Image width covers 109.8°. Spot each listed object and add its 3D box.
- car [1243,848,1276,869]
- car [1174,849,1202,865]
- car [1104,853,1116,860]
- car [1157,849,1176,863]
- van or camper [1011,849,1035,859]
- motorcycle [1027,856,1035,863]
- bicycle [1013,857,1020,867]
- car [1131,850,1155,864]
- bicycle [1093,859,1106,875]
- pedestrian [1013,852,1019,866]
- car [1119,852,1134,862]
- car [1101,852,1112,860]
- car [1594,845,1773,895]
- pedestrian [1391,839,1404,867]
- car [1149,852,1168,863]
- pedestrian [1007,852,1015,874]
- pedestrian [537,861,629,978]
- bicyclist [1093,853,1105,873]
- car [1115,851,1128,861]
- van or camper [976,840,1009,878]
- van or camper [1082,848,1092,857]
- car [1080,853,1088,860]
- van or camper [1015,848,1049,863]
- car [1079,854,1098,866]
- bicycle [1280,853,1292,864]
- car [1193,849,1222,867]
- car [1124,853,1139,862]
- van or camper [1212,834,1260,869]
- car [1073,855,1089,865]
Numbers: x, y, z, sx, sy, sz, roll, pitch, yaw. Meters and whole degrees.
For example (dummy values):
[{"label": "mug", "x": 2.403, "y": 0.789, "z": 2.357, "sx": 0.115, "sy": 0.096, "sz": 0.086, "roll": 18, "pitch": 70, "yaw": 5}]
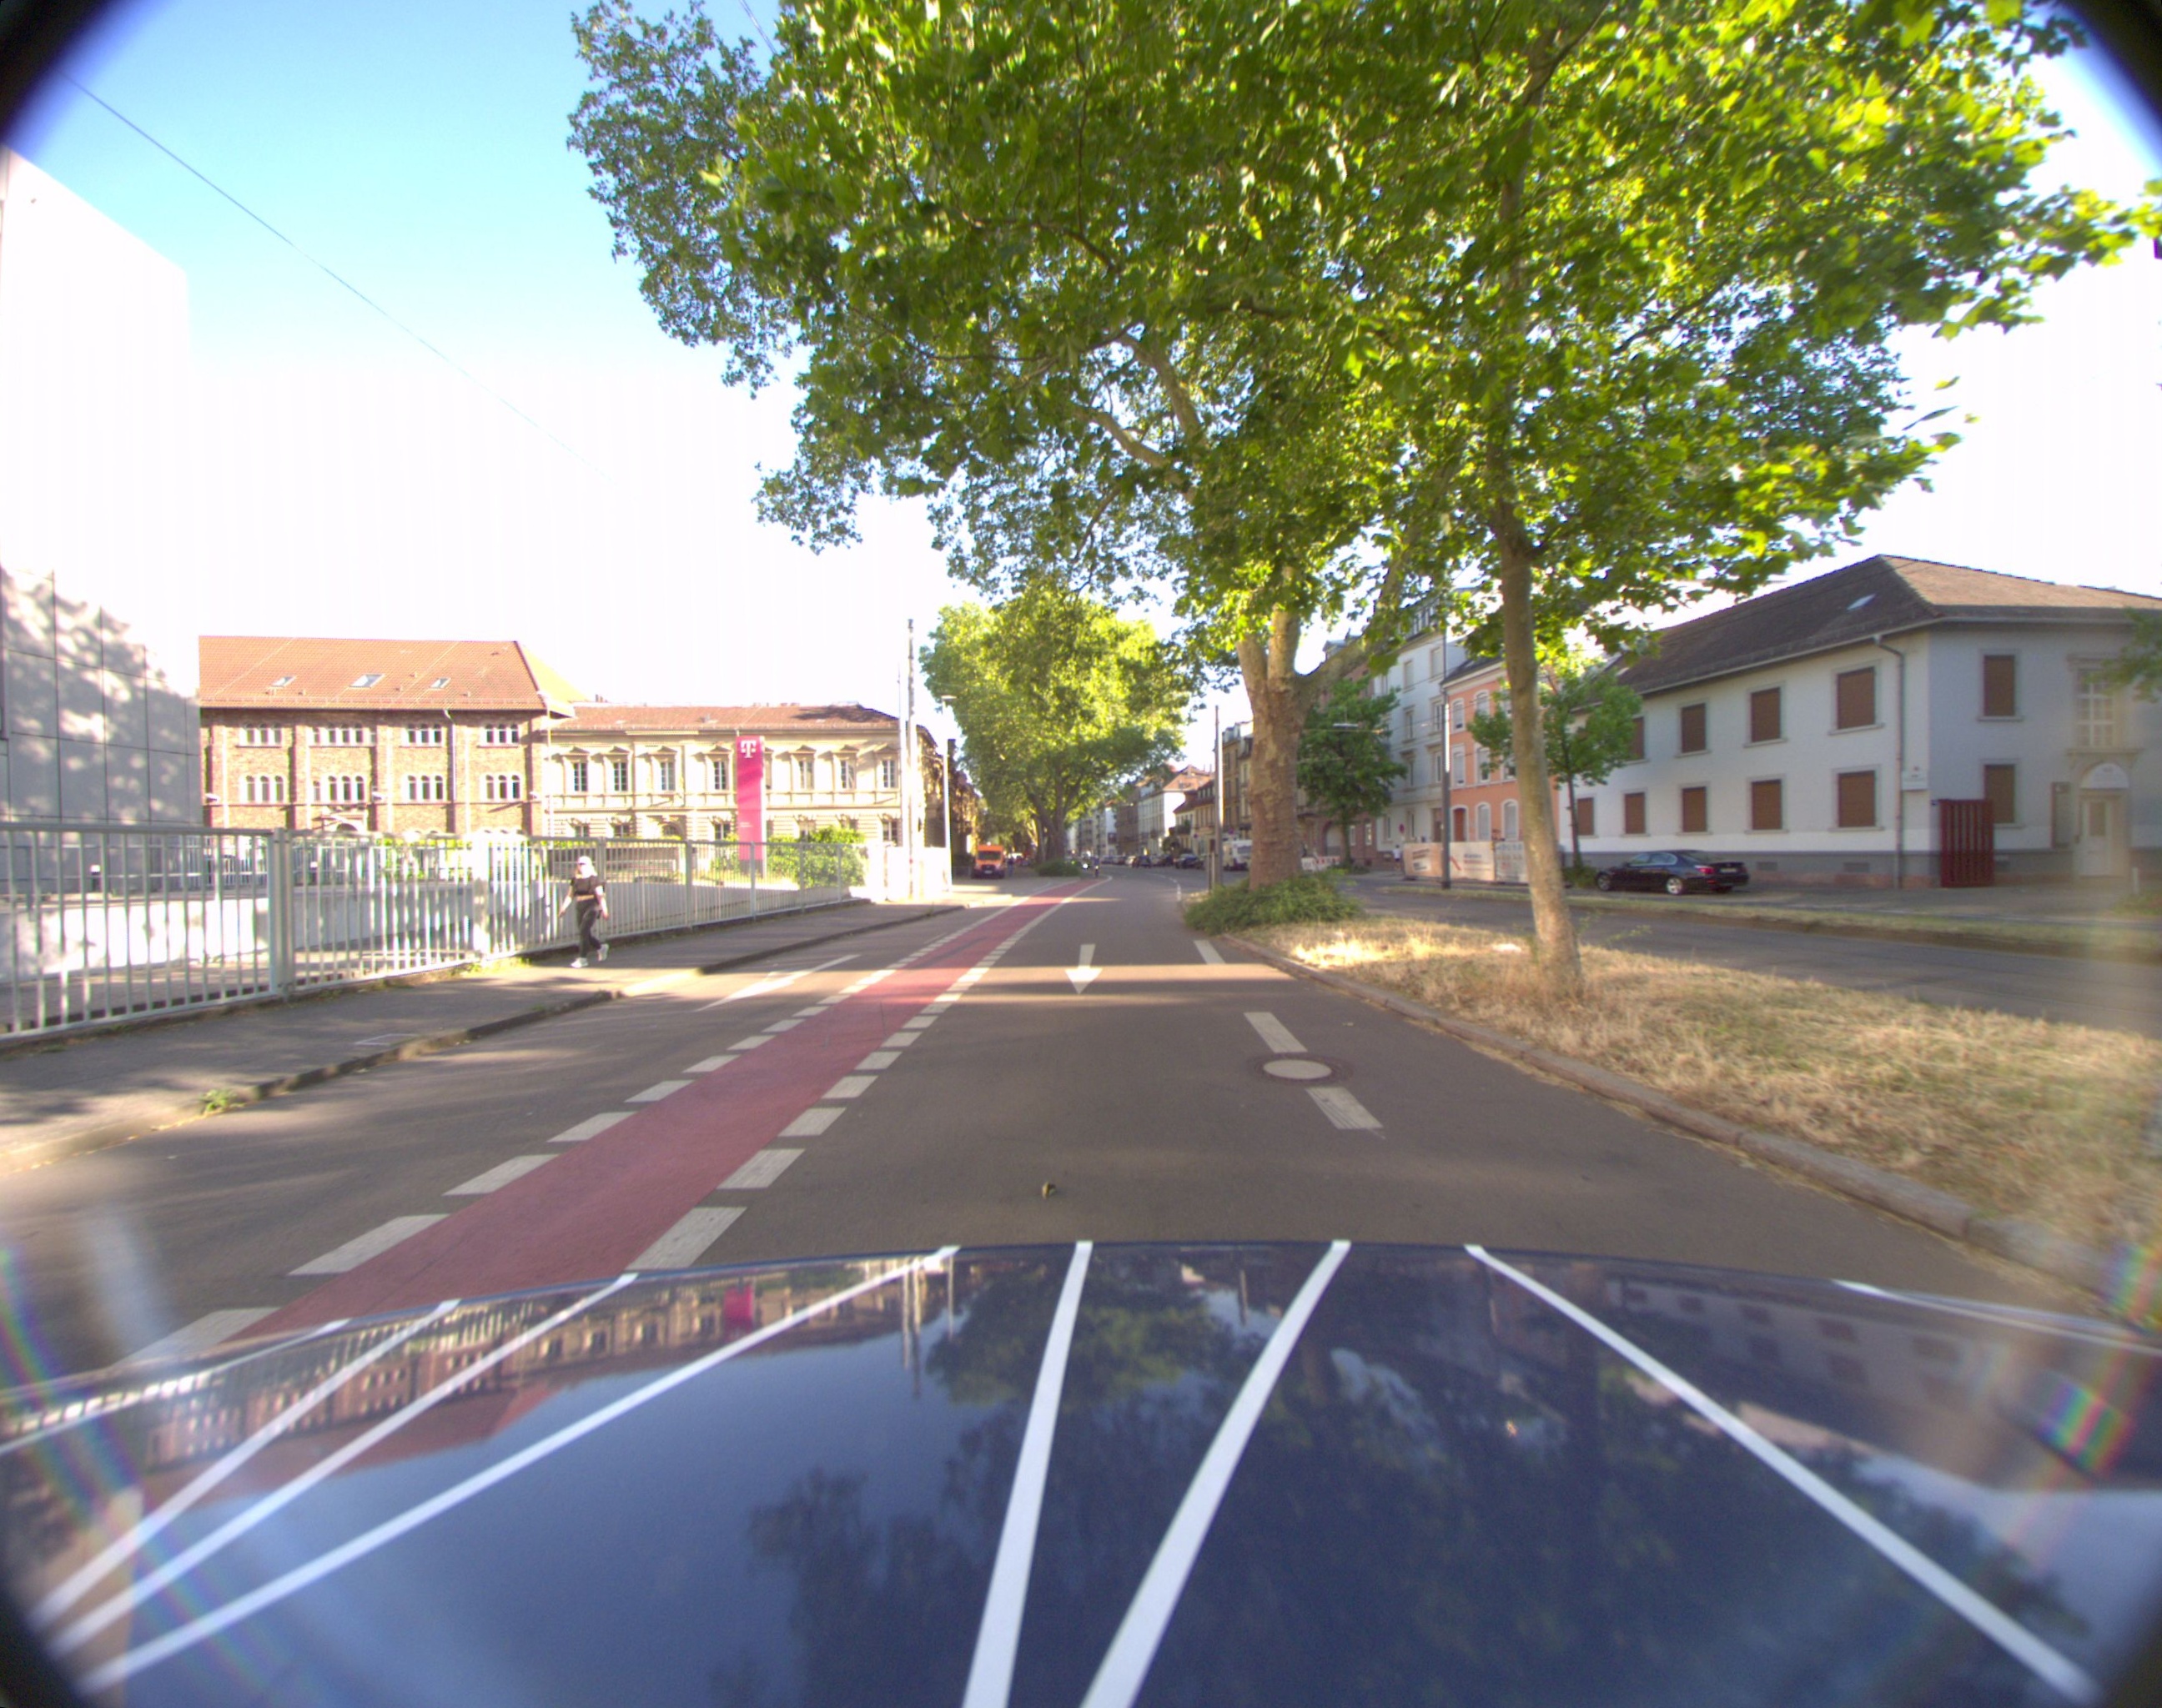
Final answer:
[{"label": "car", "x": 15.530, "y": 0.377, "z": 66.322, "sx": 1.635, "sy": 1.696, "sz": 3.368, "roll": -4, "pitch": 1, "yaw": -8}, {"label": "car", "x": 12.587, "y": 0.397, "z": 89.642, "sx": 1.999, "sy": 1.693, "sz": 4.747, "roll": -5, "pitch": 1, "yaw": -6}, {"label": "car", "x": 5.842, "y": 0.433, "z": 152.490, "sx": 1.799, "sy": 1.368, "sz": 4.081, "roll": -3, "pitch": 0, "yaw": -6}, {"label": "car", "x": 11.472, "y": 0.286, "z": 101.773, "sx": 1.729, "sy": 1.736, "sz": 3.623, "roll": -4, "pitch": 1, "yaw": -5}, {"label": "van or camper", "x": -14.986, "y": -0.018, "z": 195.752, "sx": 6.102, "sy": 2.417, "sz": 2.427, "roll": -1, "pitch": 1, "yaw": -5}, {"label": "motorcycle", "x": -7.633, "y": 0.858, "z": 115.644, "sx": 1.274, "sy": 1.048, "sz": 0.394, "roll": -1, "pitch": 1, "yaw": -42}, {"label": "bicycle", "x": -7.626, "y": 0.943, "z": 89.390, "sx": 0.677, "sy": 1.026, "sz": 1.899, "roll": 1, "pitch": 1, "yaw": -8}, {"label": "car", "x": 7.575, "y": 0.333, "z": 93.245, "sx": 2.000, "sy": 1.679, "sz": 4.307, "roll": -1, "pitch": 0, "yaw": -7}, {"label": "bicycle", "x": 1.312, "y": 0.927, "z": 55.601, "sx": 0.715, "sy": 1.131, "sz": 2.119, "roll": -1, "pitch": 0, "yaw": -5}, {"label": "pedestrian", "x": -7.640, "y": 0.565, "z": 89.333, "sx": 0.672, "sy": 1.610, "sz": 1.101, "roll": 1, "pitch": 1, "yaw": -10}, {"label": "car", "x": 7.893, "y": 0.464, "z": 132.189, "sx": 1.799, "sy": 1.587, "sz": 4.081, "roll": -3, "pitch": 0, "yaw": -6}, {"label": "car", "x": 5.299, "y": 0.360, "z": 157.761, "sx": 1.799, "sy": 1.617, "sz": 4.081, "roll": -3, "pitch": 0, "yaw": -6}, {"label": "car", "x": 20.097, "y": 0.486, "z": 25.656, "sx": 2.000, "sy": 1.505, "sz": 4.722, "roll": -1, "pitch": 0, "yaw": -6}, {"label": "pedestrian", "x": 21.088, "y": -0.068, "z": 50.595, "sx": 0.599, "sy": 1.807, "sz": 0.481, "roll": -1, "pitch": 1, "yaw": -5}, {"label": "car", "x": 10.849, "y": 0.512, "z": 106.135, "sx": 1.668, "sy": 1.446, "sz": 4.401, "roll": -4, "pitch": 0, "yaw": -6}, {"label": "pedestrian", "x": -5.648, "y": 0.721, "z": 61.382, "sx": 0.652, "sy": 1.726, "sz": 1.007, "roll": -1, "pitch": 1, "yaw": -5}, {"label": "pedestrian", "x": -7.518, "y": 0.959, "z": 11.507, "sx": 0.697, "sy": 1.674, "sz": 0.931, "roll": -1, "pitch": 1, "yaw": 4}, {"label": "bicyclist", "x": 1.313, "y": 0.667, "z": 55.571, "sx": 0.715, "sy": 1.435, "sz": 0.953, "roll": -1, "pitch": 1, "yaw": -5}, {"label": "car", "x": 7.313, "y": 0.349, "z": 137.470, "sx": 1.799, "sy": 1.630, "sz": 4.252, "roll": -3, "pitch": 0, "yaw": -6}, {"label": "van or camper", "x": -6.366, "y": 0.325, "z": 55.094, "sx": 2.041, "sy": 2.544, "sz": 5.771, "roll": -1, "pitch": 0, "yaw": -3}, {"label": "van or camper", "x": 1.405, "y": -0.349, "z": 193.743, "sx": 1.946, "sy": 2.267, "sz": 4.595, "roll": -3, "pitch": 0, "yaw": -6}, {"label": "car", "x": 0.775, "y": 0.668, "z": 199.201, "sx": 1.809, "sy": 1.534, "sz": 3.916, "roll": -3, "pitch": 0, "yaw": -6}, {"label": "van or camper", "x": -8.782, "y": 0.215, "z": 135.932, "sx": 5.931, "sy": 2.484, "sz": 2.218, "roll": -1, "pitch": 3, "yaw": -8}, {"label": "car", "x": 0.886, "y": 0.677, "z": 90.657, "sx": 1.740, "sy": 1.365, "sz": 3.916, "roll": -3, "pitch": 0, "yaw": -6}, {"label": "bicycle", "x": 19.052, "y": 0.419, "z": 70.626, "sx": 0.580, "sy": 0.919, "sz": 1.791, "roll": -1, "pitch": 0, "yaw": -3}, {"label": "car", "x": 13.555, "y": 0.420, "z": 81.715, "sx": 1.816, "sy": 1.695, "sz": 4.440, "roll": -5, "pitch": 1, "yaw": -6}, {"label": "car", "x": 8.427, "y": 0.521, "z": 127.076, "sx": 1.869, "sy": 1.423, "sz": 4.081, "roll": -3, "pitch": 0, "yaw": -6}, {"label": "van or camper", "x": 14.689, "y": -0.245, "z": 72.507, "sx": 2.426, "sy": 2.930, "sz": 7.247, "roll": -5, "pitch": 1, "yaw": -4}, {"label": "car", "x": -0.048, "y": 0.808, "z": 105.538, "sx": 1.740, "sy": 1.365, "sz": 3.916, "roll": -3, "pitch": 0, "yaw": -6}]
